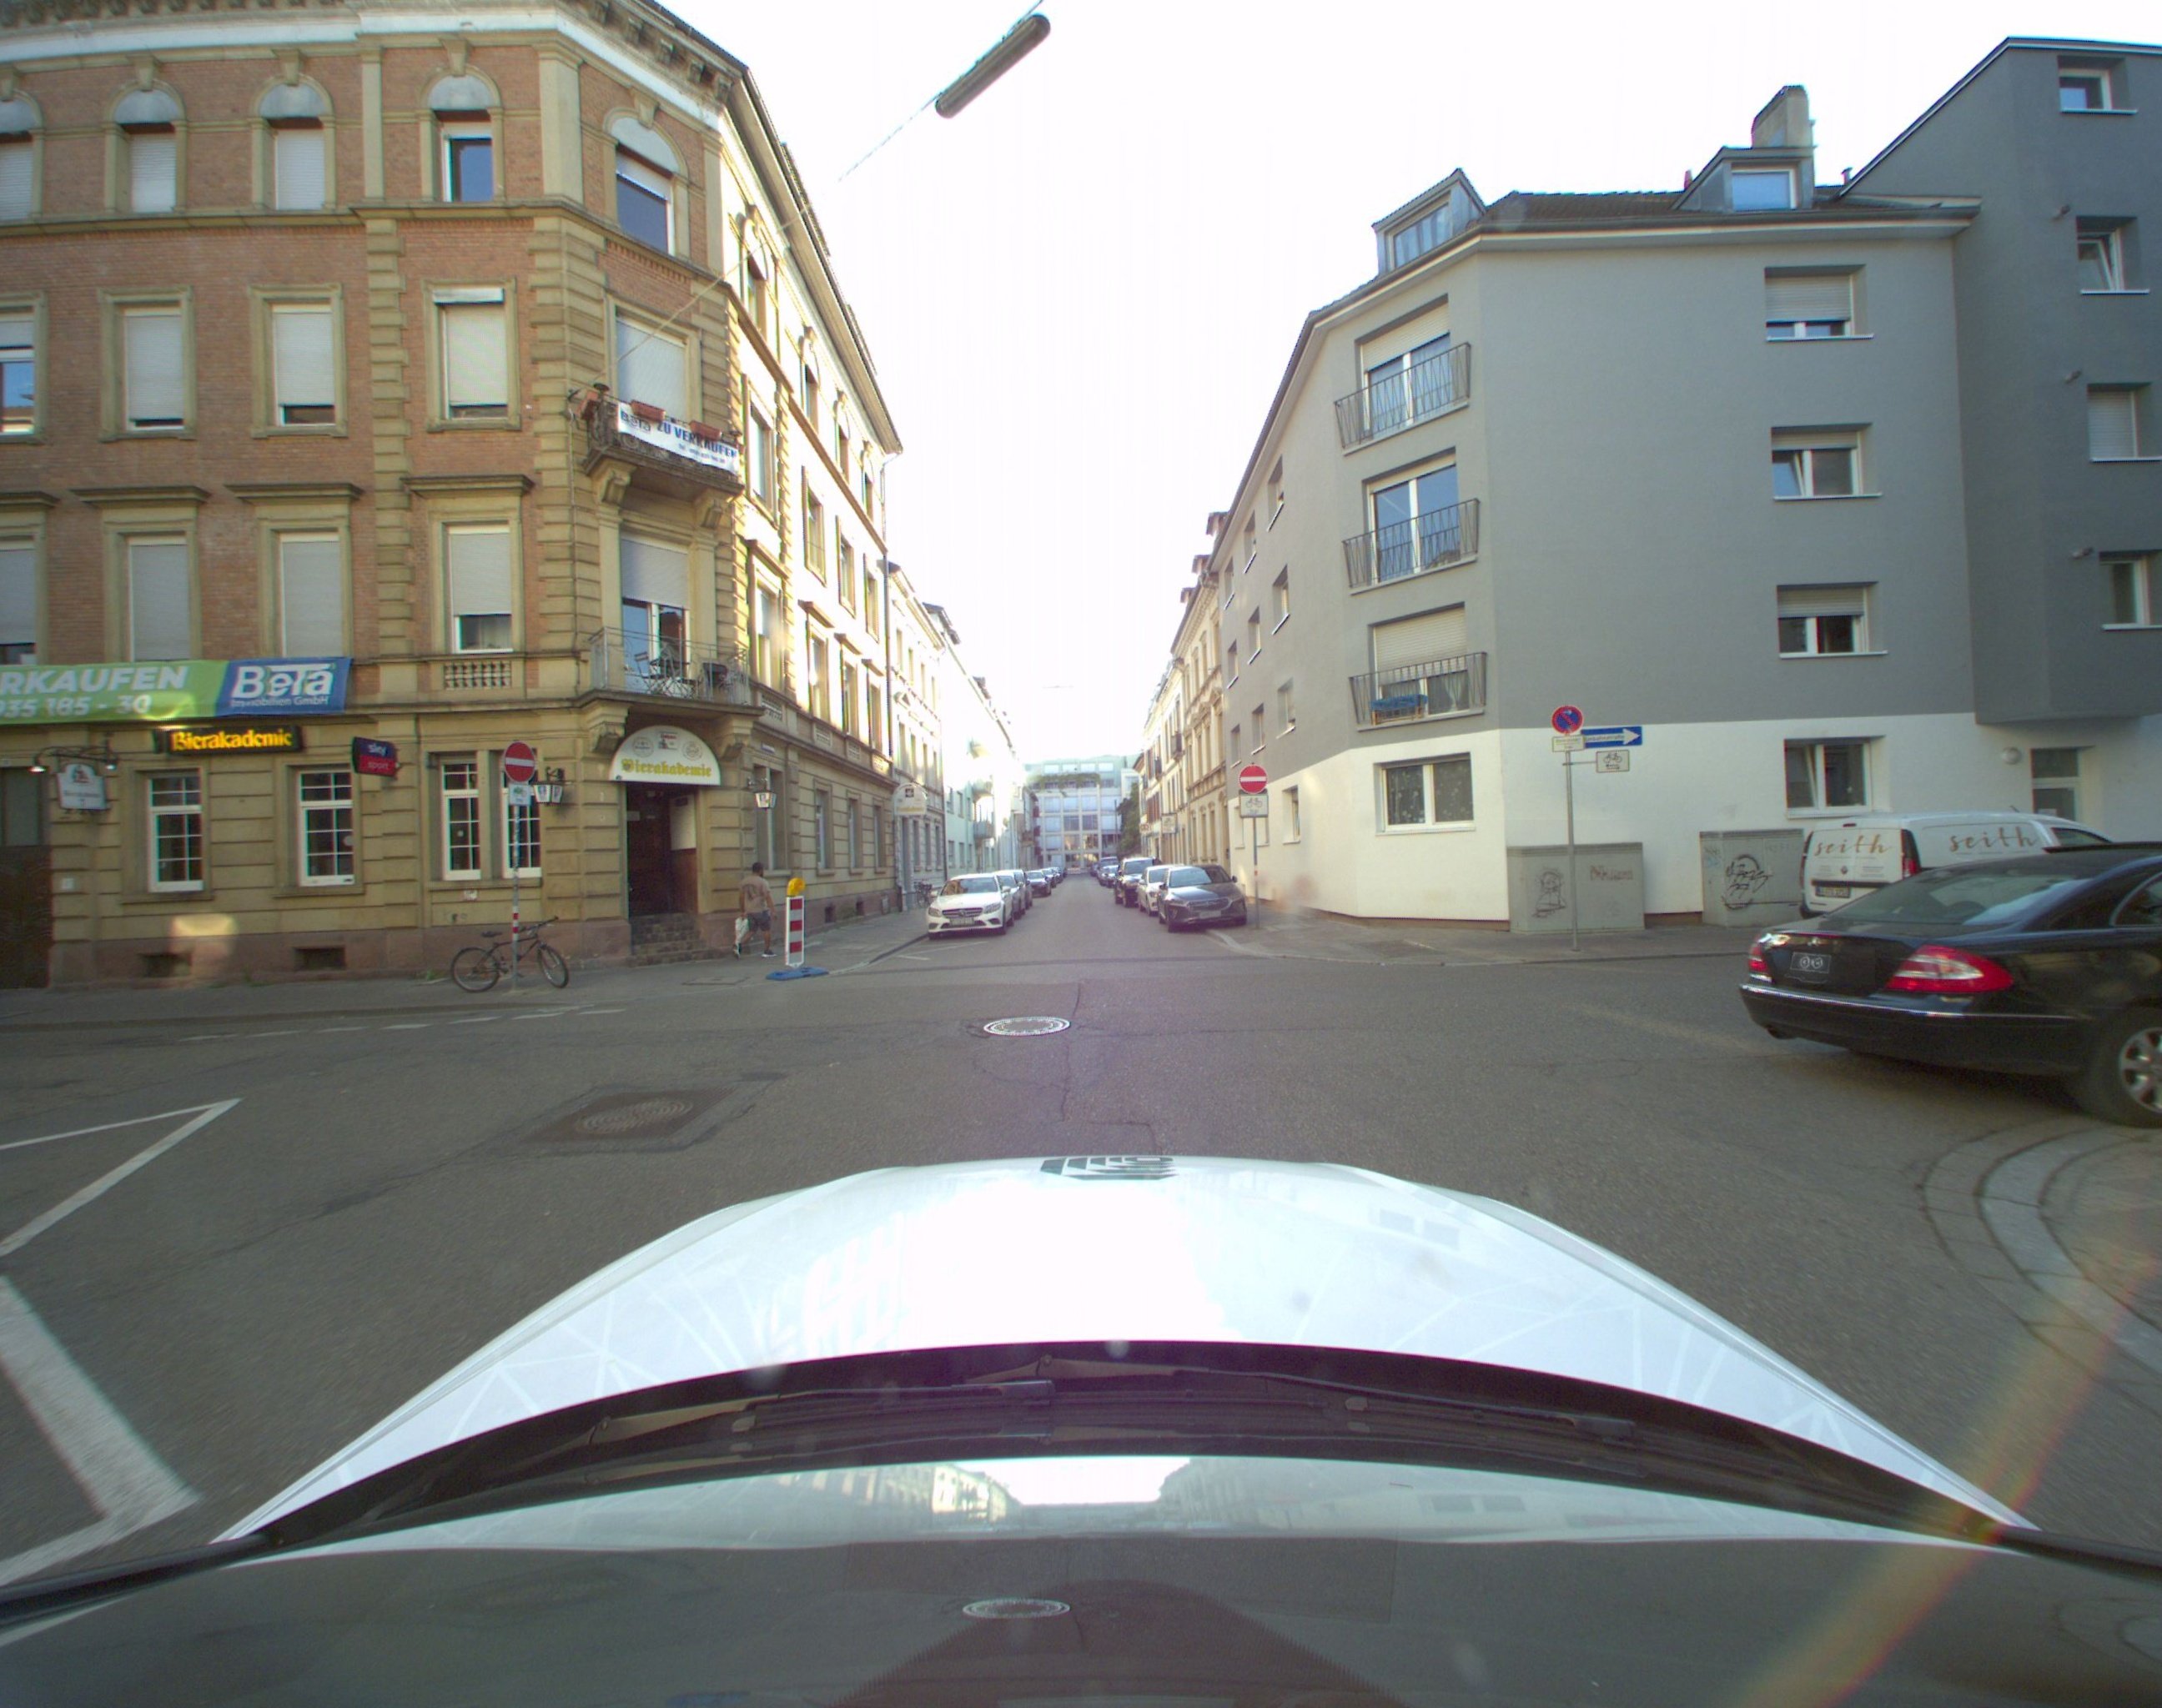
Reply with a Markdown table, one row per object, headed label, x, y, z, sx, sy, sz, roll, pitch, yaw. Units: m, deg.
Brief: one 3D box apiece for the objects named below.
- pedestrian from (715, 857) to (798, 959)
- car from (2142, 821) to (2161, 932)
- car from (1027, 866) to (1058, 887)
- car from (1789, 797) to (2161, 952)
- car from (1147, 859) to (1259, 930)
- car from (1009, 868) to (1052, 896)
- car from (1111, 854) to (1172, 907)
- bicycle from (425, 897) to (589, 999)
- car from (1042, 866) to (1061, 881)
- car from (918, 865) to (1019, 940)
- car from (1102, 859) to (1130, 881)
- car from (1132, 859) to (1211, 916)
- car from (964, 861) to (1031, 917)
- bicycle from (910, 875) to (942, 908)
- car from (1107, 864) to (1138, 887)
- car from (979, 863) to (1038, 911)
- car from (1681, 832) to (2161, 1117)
| label | x | y | z | sx | sy | sz | roll | pitch | yaw |
| --- | --- | --- | --- | --- | --- | --- | --- | --- | --- |
| pedestrian | -5.900 | 0.955 | 14.796 | 0.972 | 1.742 | 1.023 | -2 | -1 | 40 |
| car | 17.491 | 0.211 | 10.992 | 4.344 | 1.564 | 1.766 | -3 | -1 | -5 |
| car | -2.851 | 1.667 | 60.932 | 2.168 | 1.418 | 3.996 | -2 | -1 | -2 |
| car | 12.348 | 0.244 | 10.997 | 4.159 | 1.814 | 1.635 | -2 | -1 | -1 |
| car | 2.754 | 0.873 | 19.250 | 1.933 | 1.372 | 3.786 | -4 | 0 | -1 |
| car | -2.636 | 1.451 | 43.364 | 1.987 | 1.355 | 4.427 | -2 | -1 | -1 |
| car | 2.204 | 0.960 | 30.730 | 1.888 | 1.784 | 3.998 | -2 | -1 | -1 |
| bicycle | -8.171 | 1.324 | 11.654 | 1.754 | 1.275 | 0.660 | -2 | 3 | -4 |
| car | -2.763 | 1.876 | 78.029 | 1.702 | 1.302 | 3.998 | -2 | -1 | -1 |
| car | -2.698 | 1.124 | 20.542 | 1.988 | 1.564 | 4.502 | -2 | 0 | -2 |
| car | 2.820 | 1.279 | 66.550 | 1.988 | 1.700 | 3.998 | -2 | -1 | -1 |
| car | 2.719 | 0.973 | 25.318 | 1.958 | 1.557 | 3.887 | -2 | -1 | -1 |
| car | -2.577 | 1.055 | 25.919 | 1.619 | 1.577 | 3.755 | -2 | -1 | 1 |
| bicycle | -5.983 | 1.431 | 31.606 | 0.735 | 1.160 | 2.461 | -2 | -1 | 0 |
| car | 2.797 | 1.461 | 55.576 | 1.987 | 1.451 | 4.000 | -2 | 0 | 1 |
| car | -2.751 | 1.239 | 31.653 | 1.779 | 1.659 | 3.817 | -2 | -1 | 1 |
| car | 6.835 | 0.577 | 5.091 | 4.694 | 1.408 | 1.891 | -2 | -1 | 2 |
